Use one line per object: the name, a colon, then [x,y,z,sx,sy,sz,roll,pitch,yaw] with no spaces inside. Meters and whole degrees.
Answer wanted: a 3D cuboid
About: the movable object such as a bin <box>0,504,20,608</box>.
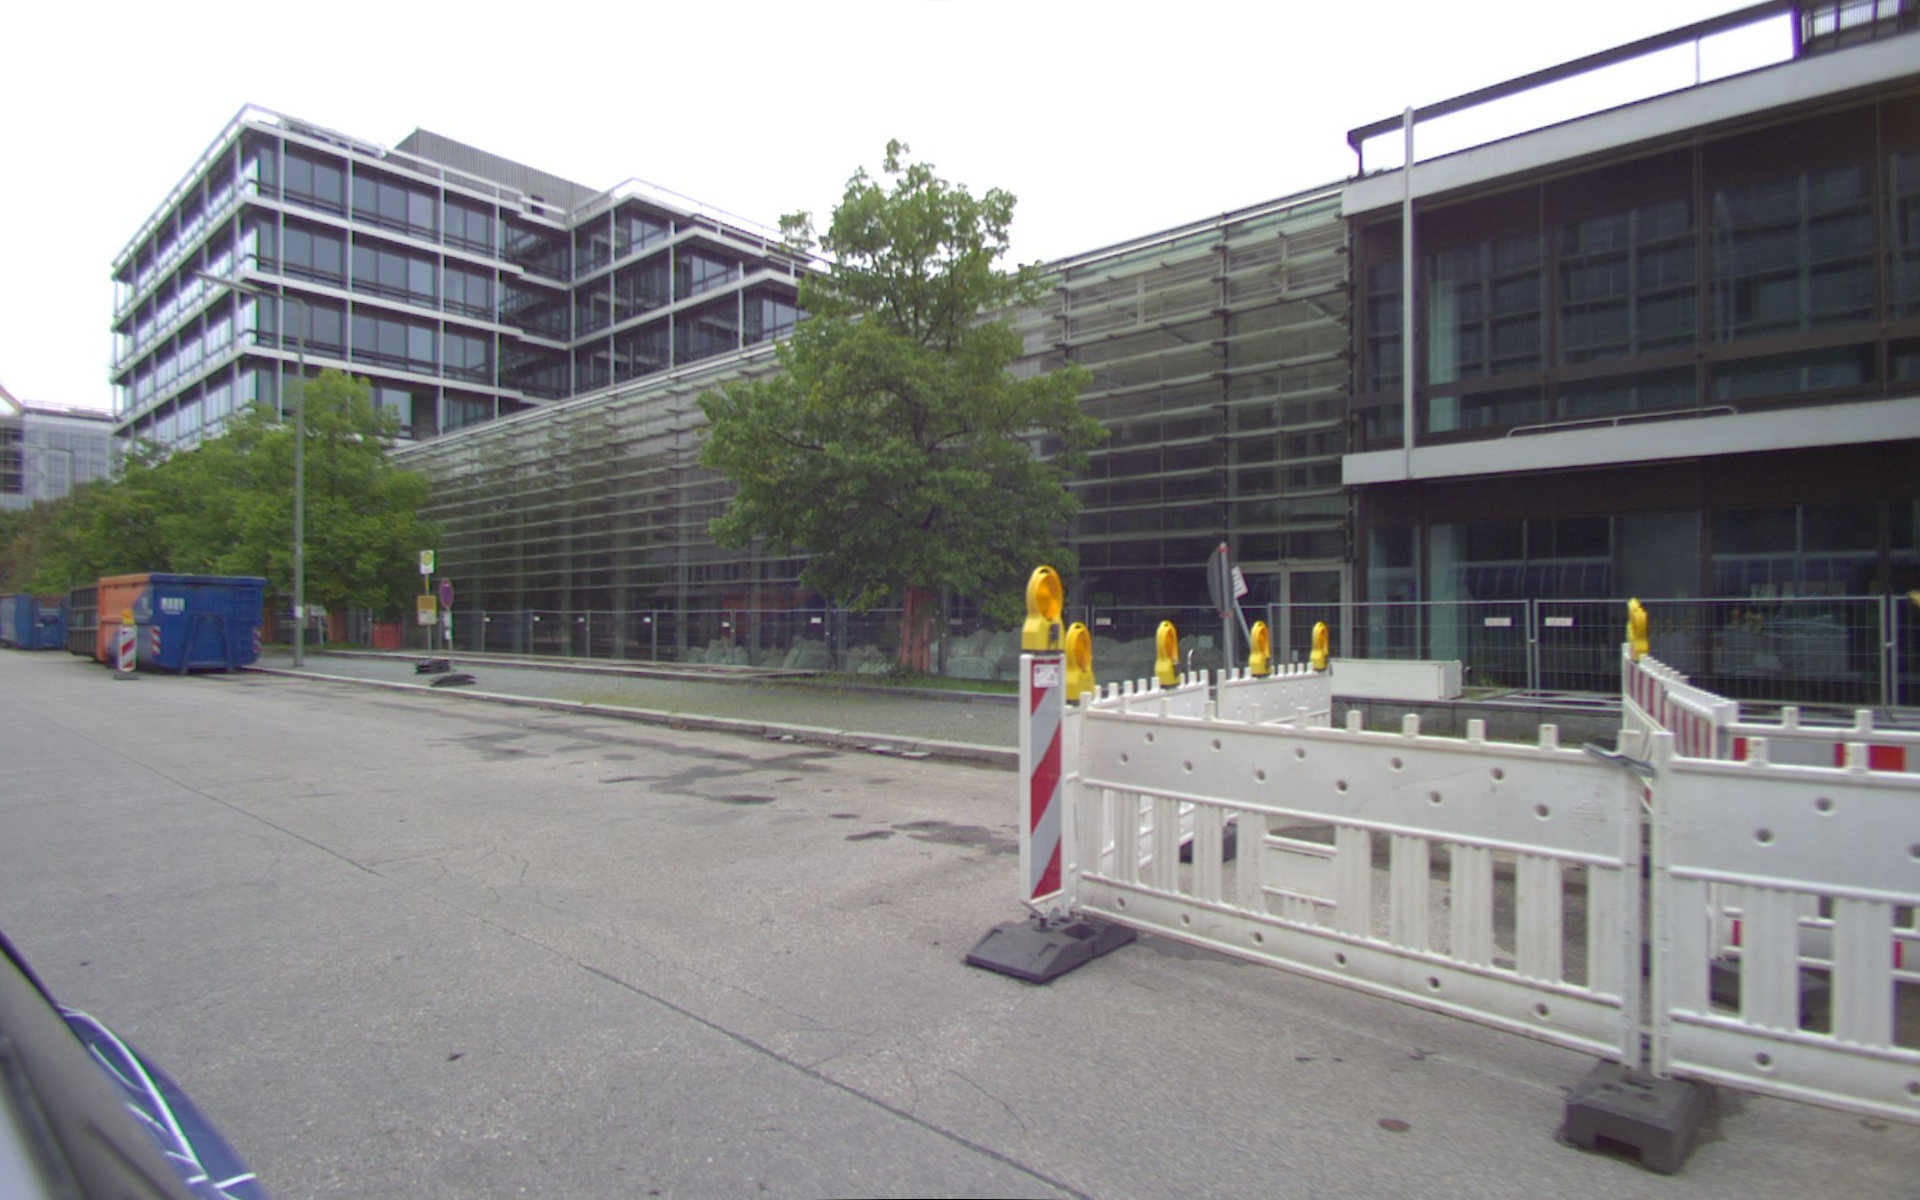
movable object such as a bin: [-66.010,-2.780,68.019,11.778,6.614,2.874,-1,-1,41]
